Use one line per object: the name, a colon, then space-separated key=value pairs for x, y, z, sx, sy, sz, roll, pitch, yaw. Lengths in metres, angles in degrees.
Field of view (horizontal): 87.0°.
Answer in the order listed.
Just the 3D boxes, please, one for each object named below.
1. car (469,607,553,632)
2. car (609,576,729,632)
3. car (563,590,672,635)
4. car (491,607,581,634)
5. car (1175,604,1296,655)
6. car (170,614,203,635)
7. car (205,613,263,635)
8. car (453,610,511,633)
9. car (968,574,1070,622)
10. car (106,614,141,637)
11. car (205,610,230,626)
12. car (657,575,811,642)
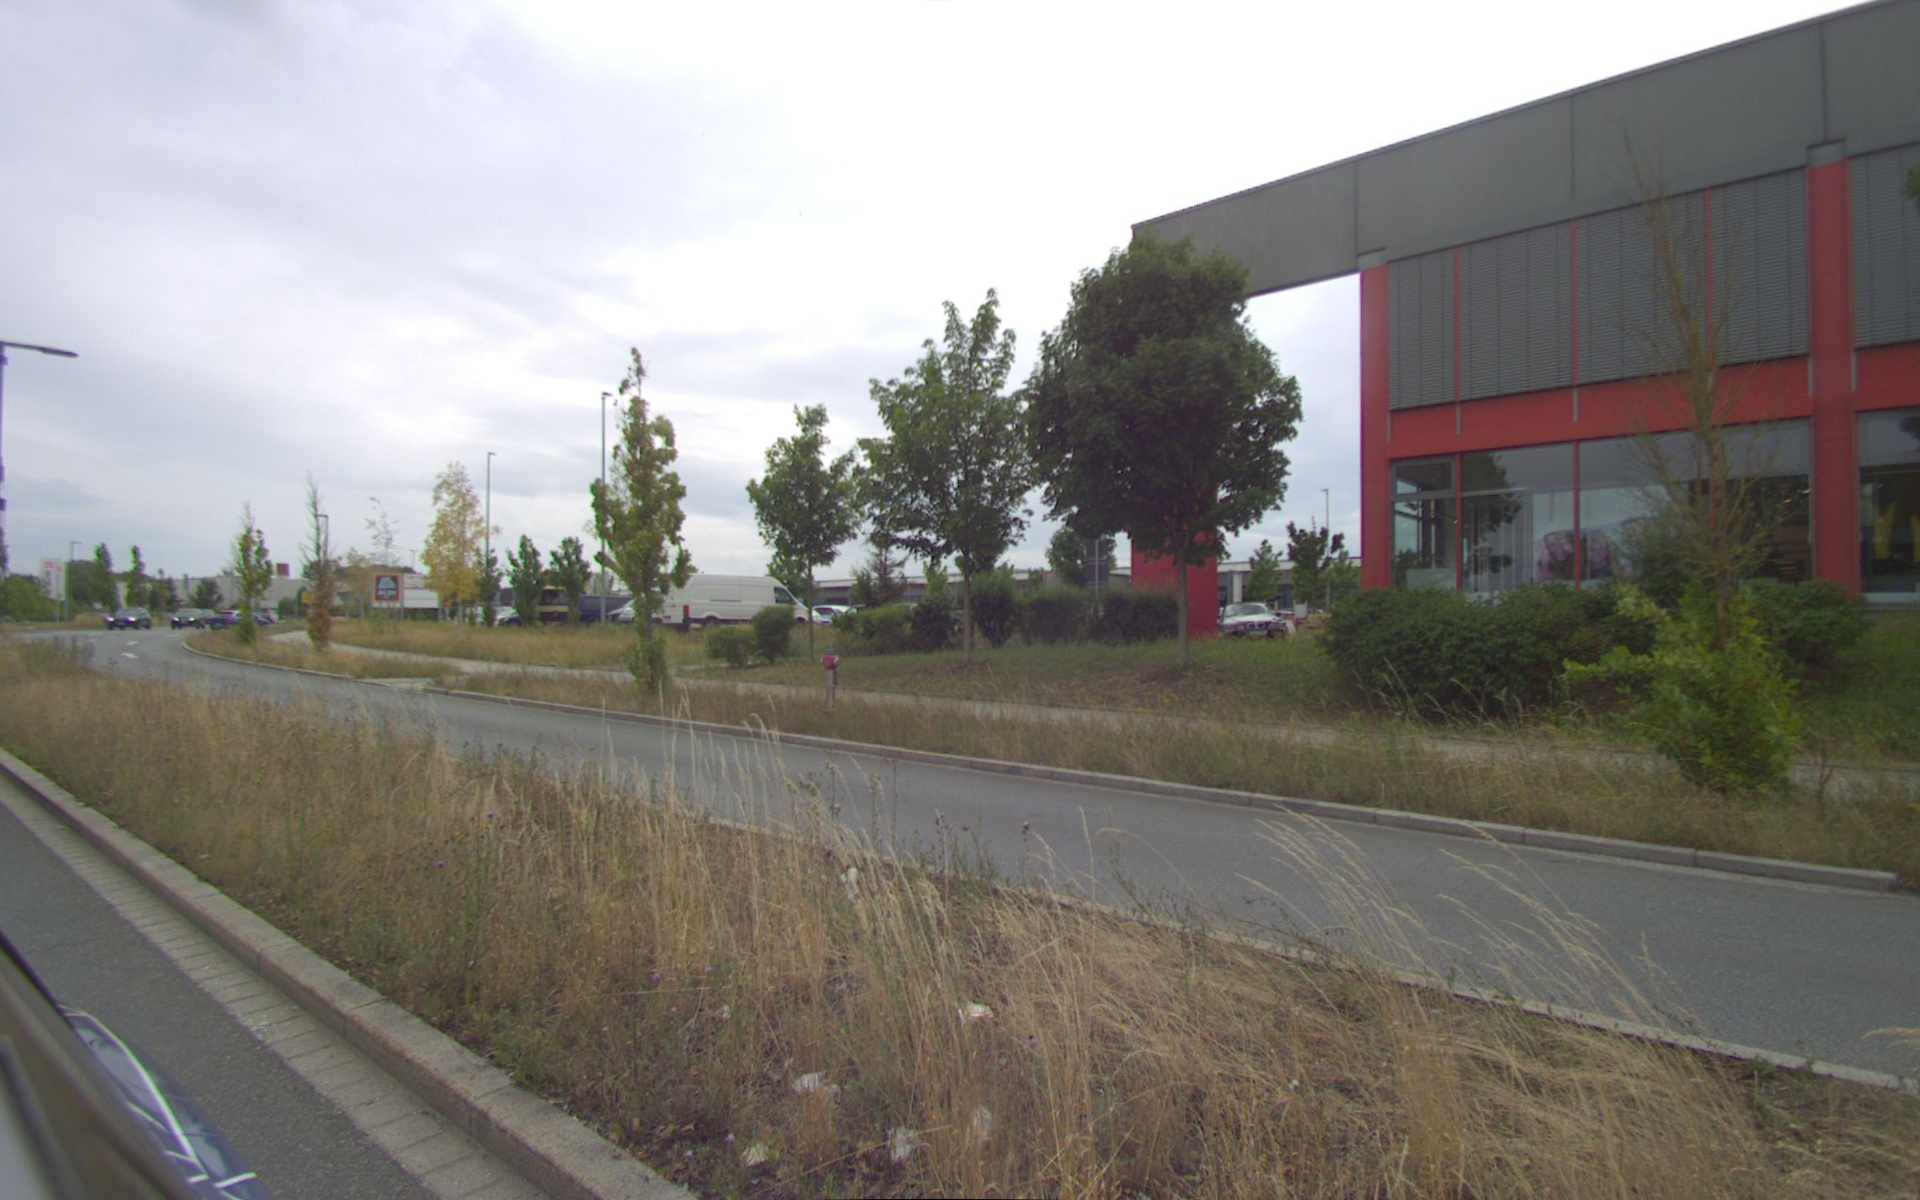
car: x=-31.563 y=1.401 z=71.211 sx=4.977 sy=1.669 sz=2.068 roll=2 pitch=-2 yaw=-39
car: x=-13.243 y=0.158 z=46.261 sx=2.063 sy=2.391 sz=4.989 roll=0 pitch=0 yaw=41
car: x=-17.802 y=0.704 z=52.717 sx=4.980 sy=2.240 sz=2.067 roll=2 pitch=-2 yaw=-42
car: x=-27.161 y=1.344 z=64.928 sx=4.977 sy=1.669 sz=2.068 roll=2 pitch=-2 yaw=-39
car: x=7.337 y=0.750 z=27.056 sx=2.860 sy=1.279 sz=1.245 roll=0 pitch=0 yaw=42
car: x=-61.305 y=1.910 z=80.262 sx=1.967 sy=1.586 sz=4.010 roll=0 pitch=0 yaw=-36
car: x=-51.854 y=1.719 z=72.381 sx=1.707 sy=1.524 sz=4.007 roll=1 pitch=-2 yaw=-9
car: x=-37.959 y=1.701 z=80.386 sx=3.932 sy=1.683 sz=2.006 roll=-1 pitch=-1 yaw=-32
car: x=3.032 y=-0.112 z=52.767 sx=5.049 sy=2.391 sz=2.039 roll=0 pitch=0 yaw=37
car: x=-63.192 y=1.919 z=76.526 sx=1.968 sy=1.586 sz=4.008 roll=0 pitch=0 yaw=-39
car: x=-78.596 y=1.868 z=107.132 sx=1.968 sy=1.586 sz=4.008 roll=0 pitch=0 yaw=-39
car: x=-9.472 y=0.312 z=42.973 sx=2.065 sy=2.644 sz=6.326 roll=0 pitch=0 yaw=44
